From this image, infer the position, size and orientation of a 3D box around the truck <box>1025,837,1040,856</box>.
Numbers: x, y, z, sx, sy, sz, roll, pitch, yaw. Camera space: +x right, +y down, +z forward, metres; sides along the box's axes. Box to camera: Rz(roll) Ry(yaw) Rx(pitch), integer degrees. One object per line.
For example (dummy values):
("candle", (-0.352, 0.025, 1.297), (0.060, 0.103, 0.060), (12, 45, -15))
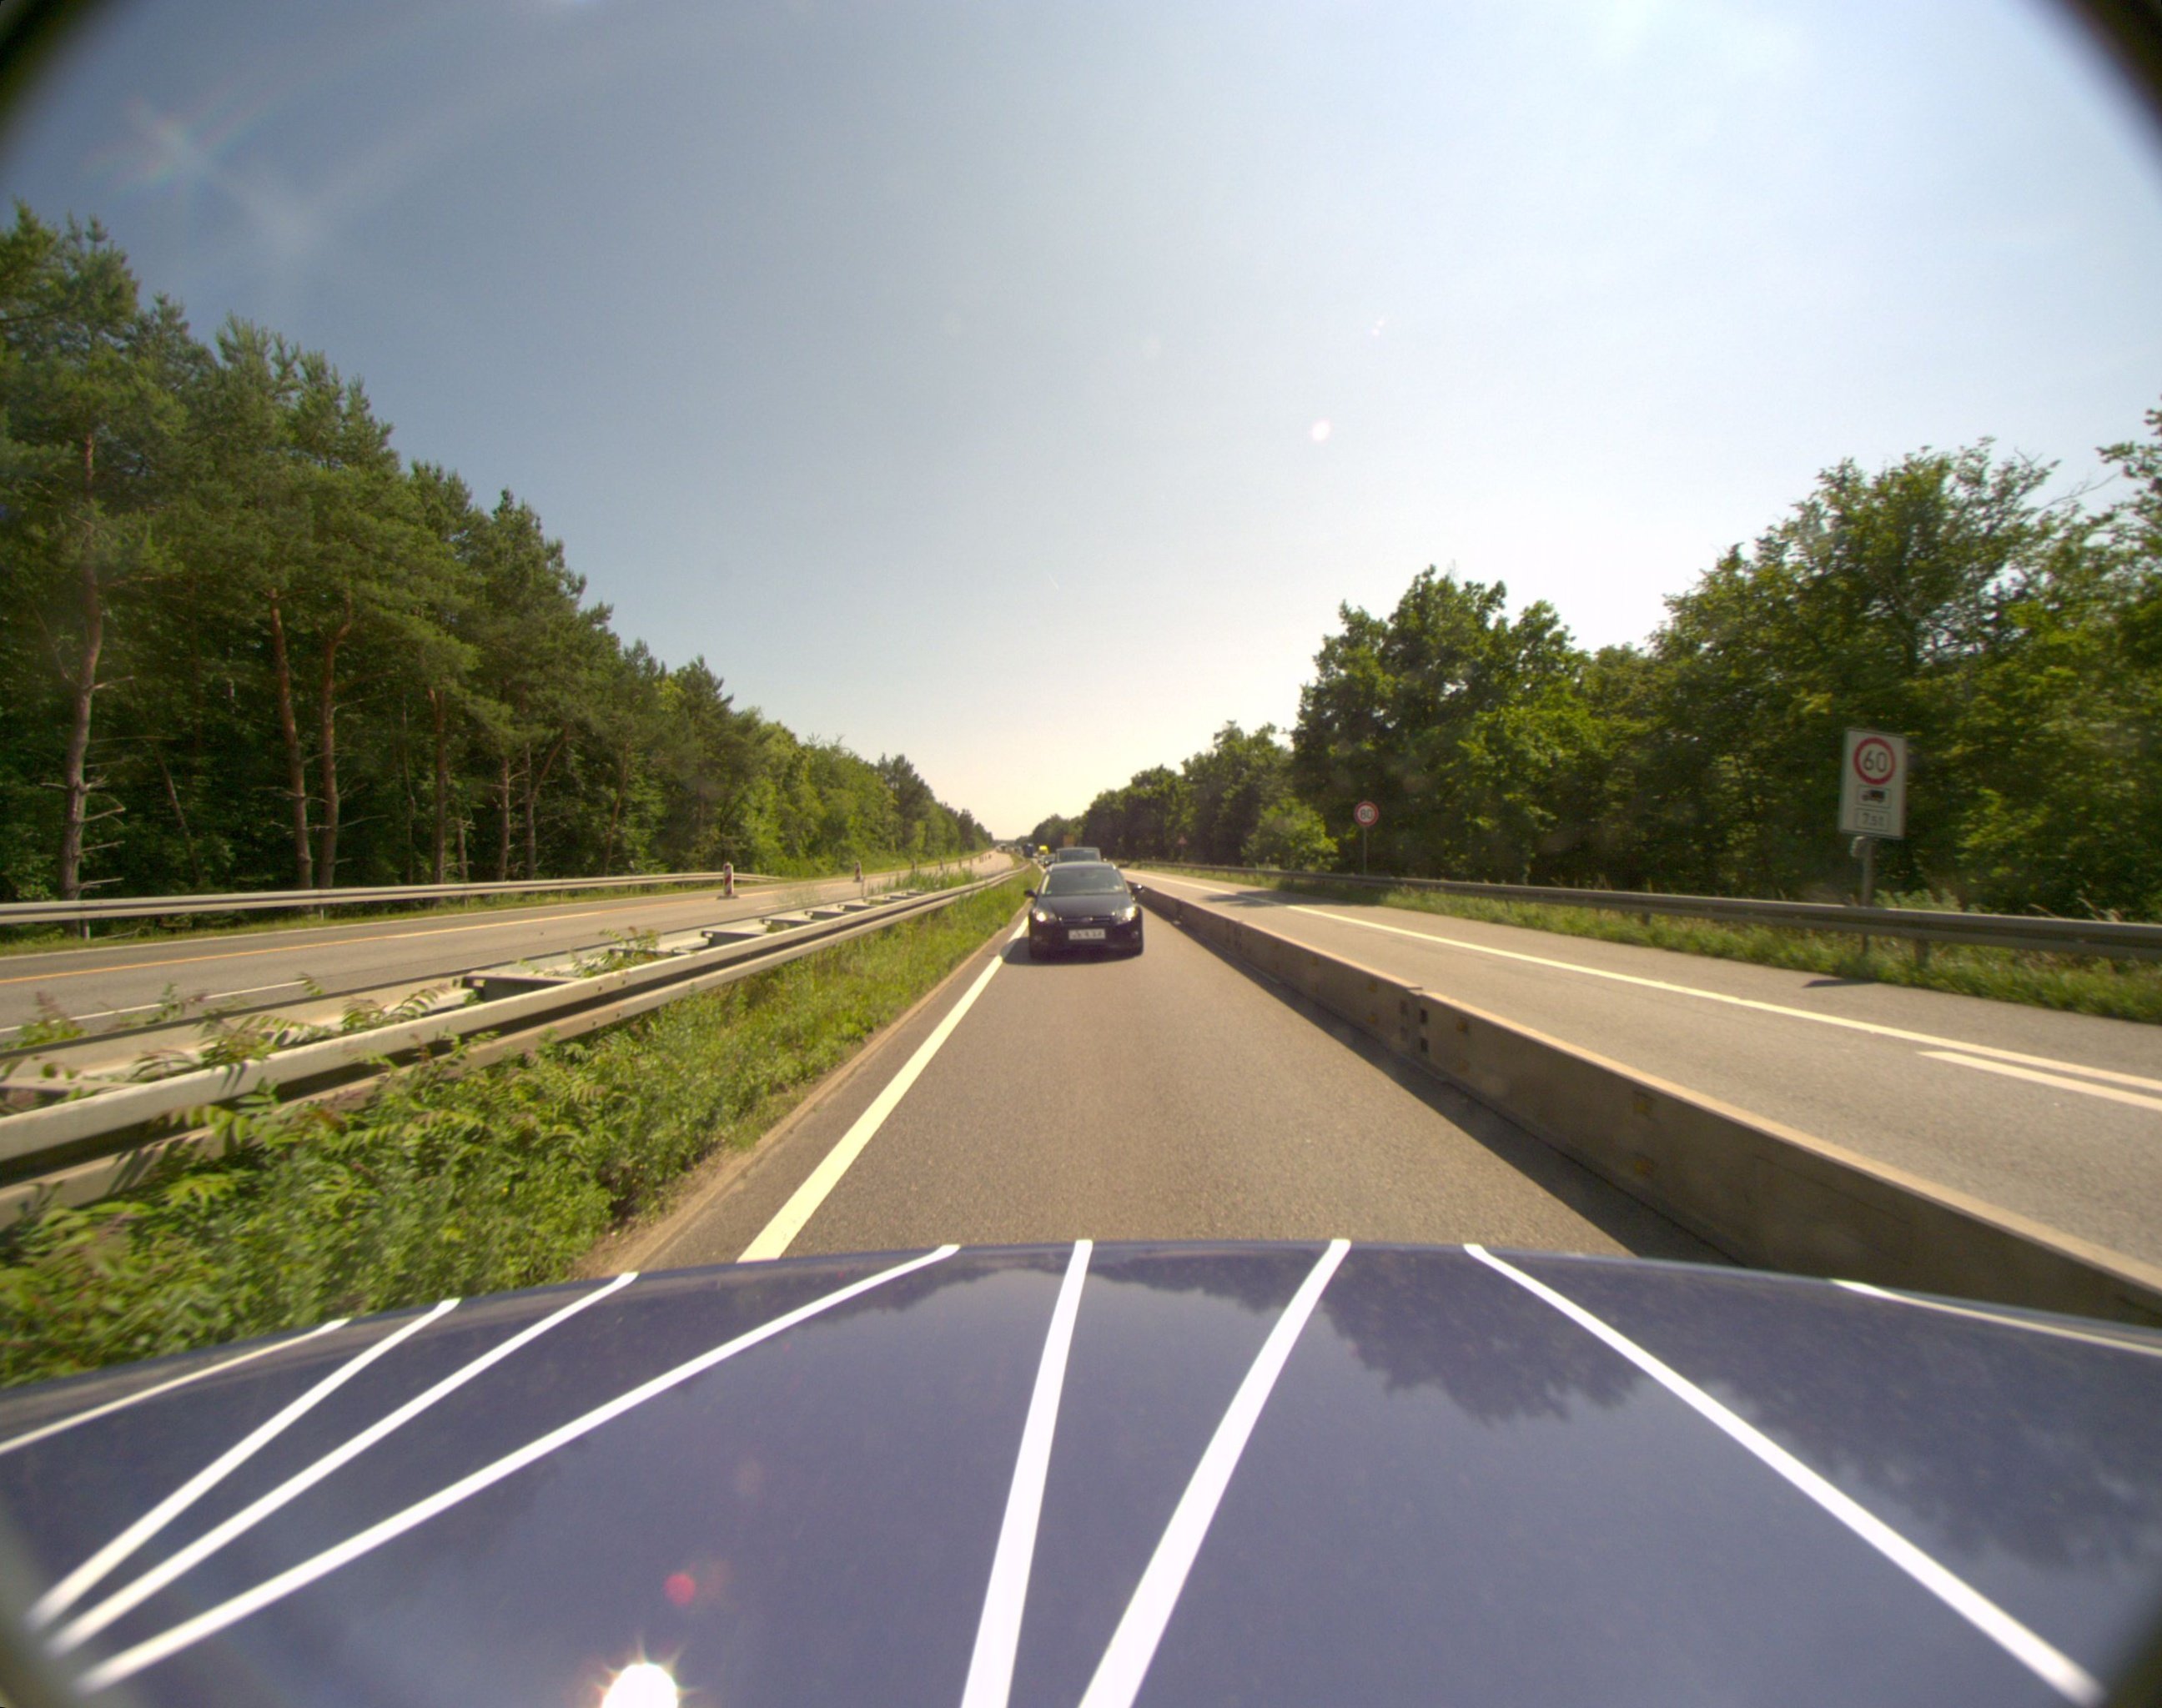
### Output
("truck", (-14.014, -2.084, 219.307), (3.831, 5.266, 11.241), (-1, 0, -5))

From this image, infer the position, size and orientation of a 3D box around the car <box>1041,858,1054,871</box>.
("car", (-4.304, 1.302, 97.545), (1.527, 1.647, 3.980), (-1, 0, 0))

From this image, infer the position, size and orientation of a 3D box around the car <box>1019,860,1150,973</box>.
("car", (0.032, 0.926, 13.498), (1.847, 1.536, 4.935), (-2, 0, -1))

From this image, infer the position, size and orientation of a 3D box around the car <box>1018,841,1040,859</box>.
("car", (-5.314, -0.425, 78.512), (1.998, 1.773, 4.000), (-1, 0, 0))

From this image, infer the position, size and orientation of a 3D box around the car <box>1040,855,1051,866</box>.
("car", (-5.465, 0.960, 118.572), (1.527, 1.647, 3.980), (-1, 0, 0))

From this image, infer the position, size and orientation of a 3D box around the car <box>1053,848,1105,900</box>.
("car", (-0.117, 0.756, 31.980), (1.960, 1.901, 4.934), (-2, 1, -1))

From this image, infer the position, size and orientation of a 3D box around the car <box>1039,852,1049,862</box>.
("car", (-6.601, 0.545, 136.917), (1.527, 1.647, 3.754), (0, 0, 0))
